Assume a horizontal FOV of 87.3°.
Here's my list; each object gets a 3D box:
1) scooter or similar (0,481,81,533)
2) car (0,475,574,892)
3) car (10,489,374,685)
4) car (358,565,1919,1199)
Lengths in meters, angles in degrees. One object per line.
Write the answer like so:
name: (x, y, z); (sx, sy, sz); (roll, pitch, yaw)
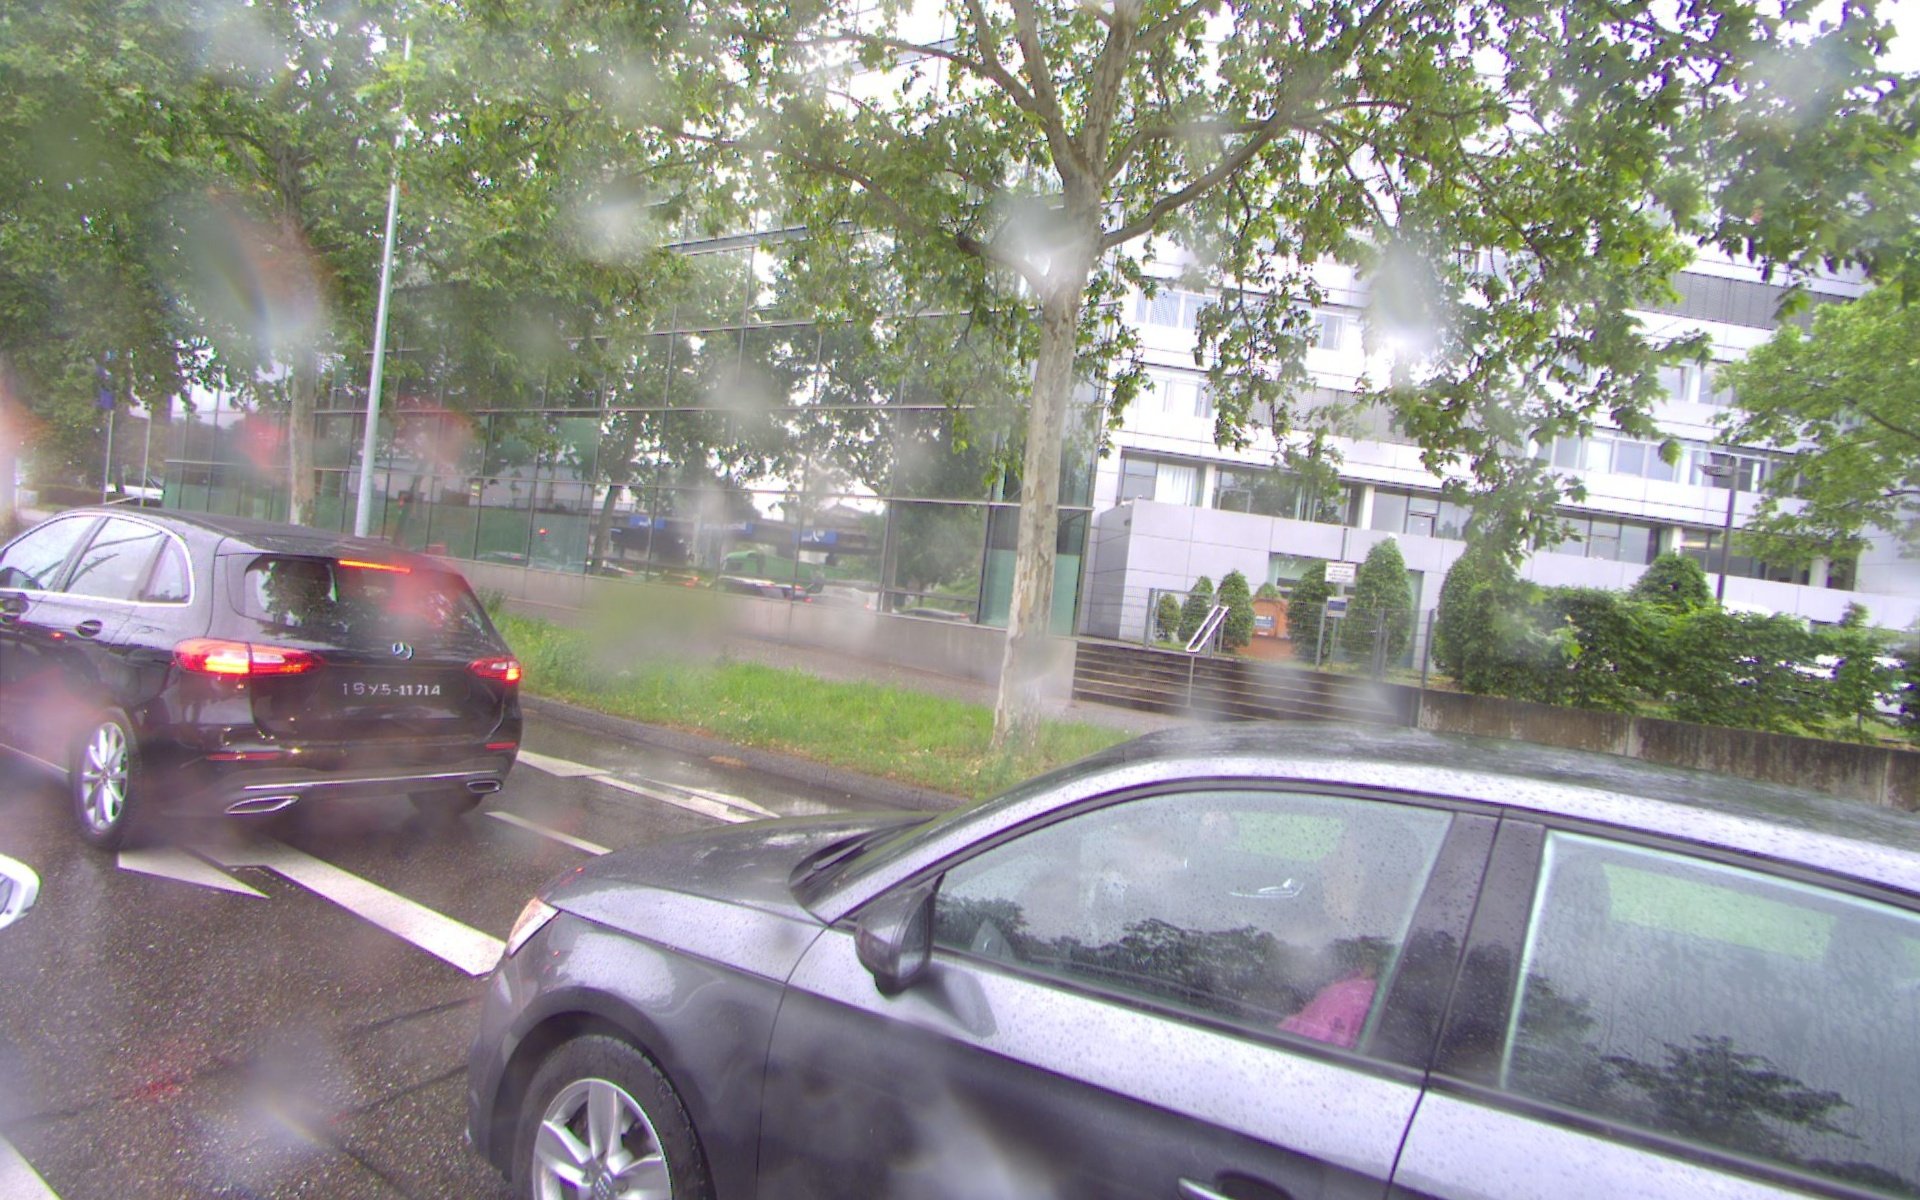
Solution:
scooter or similar: (-54.526, -5.510, 58.143); (5.228, 2.476, 1.893); (7, 0, -9)
car: (-4.342, 0.247, 5.754); (4.022, 1.573, 1.751); (7, -1, 31)
car: (-8.813, -0.169, 11.490); (3.933, 1.631, 1.880); (7, -2, 32)
car: (0.663, 0.896, 2.123); (3.718, 1.445, 1.679); (7, -1, 31)
